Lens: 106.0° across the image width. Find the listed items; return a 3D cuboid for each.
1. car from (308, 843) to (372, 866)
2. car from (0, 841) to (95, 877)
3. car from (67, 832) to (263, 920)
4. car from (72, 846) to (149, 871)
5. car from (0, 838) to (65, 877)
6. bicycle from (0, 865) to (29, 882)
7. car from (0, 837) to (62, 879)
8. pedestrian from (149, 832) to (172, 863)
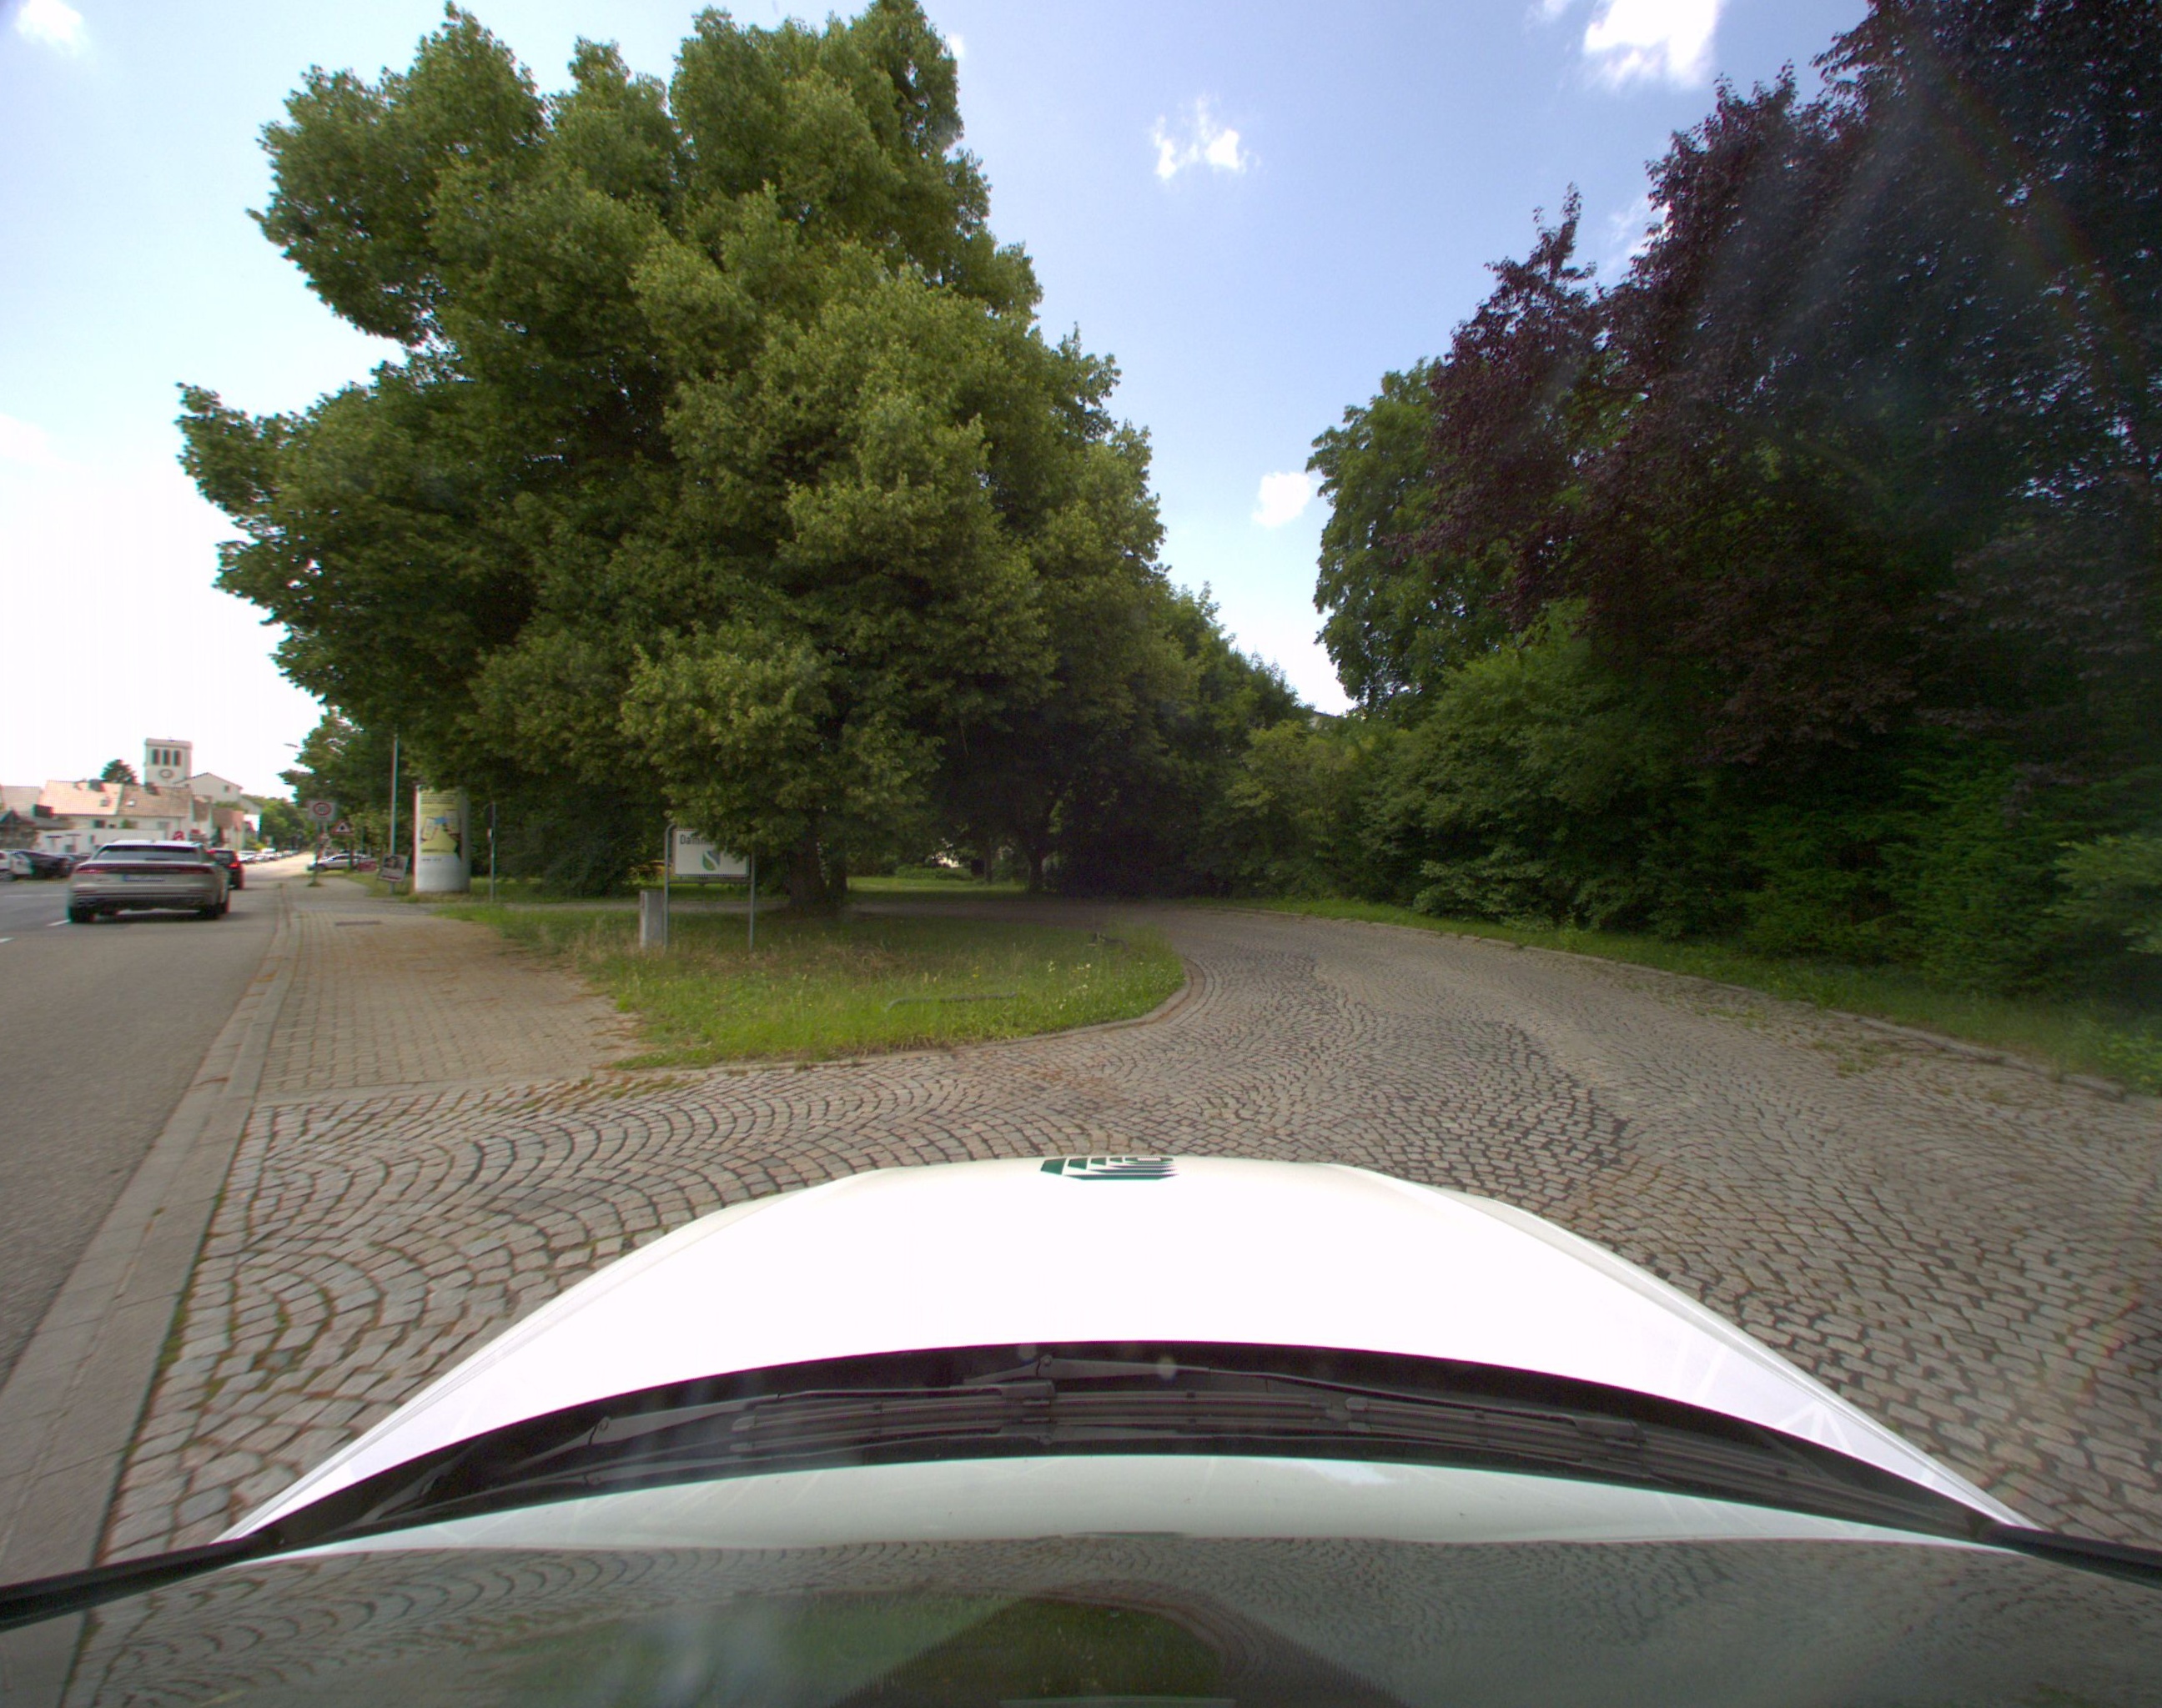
[{"bbox_3d":[-65.976,0.015,72.628,4.018,2.013,1.978,0,0,-37],"label":"car"},{"bbox_3d":[-60.840,0.282,47.134,1.975,2.014,4.675,-1,-1,42],"label":"car"},{"bbox_3d":[-19.921,0.430,17.972,1.997,1.684,4.523,2,-1,-38],"label":"car"},{"bbox_3d":[-80.369,0.327,67.512,1.975,2.013,4.024,0,0,41],"label":"car"},{"bbox_3d":[-56.581,0.180,42.252,1.975,2.014,4.675,-1,-1,42],"label":"car"},{"bbox_3d":[-49.985,0.912,37.599,0.563,0.757,1.685,0,-2,42],"label":"bicycle"},{"bbox_3d":[-53.712,0.206,39.836,1.975,2.014,4.675,-1,-1,42],"label":"car"},{"bbox_3d":[-64.367,-0.418,56.950,0.917,2.135,1.002,1,-1,-42],"label":"pedestrian"}]
